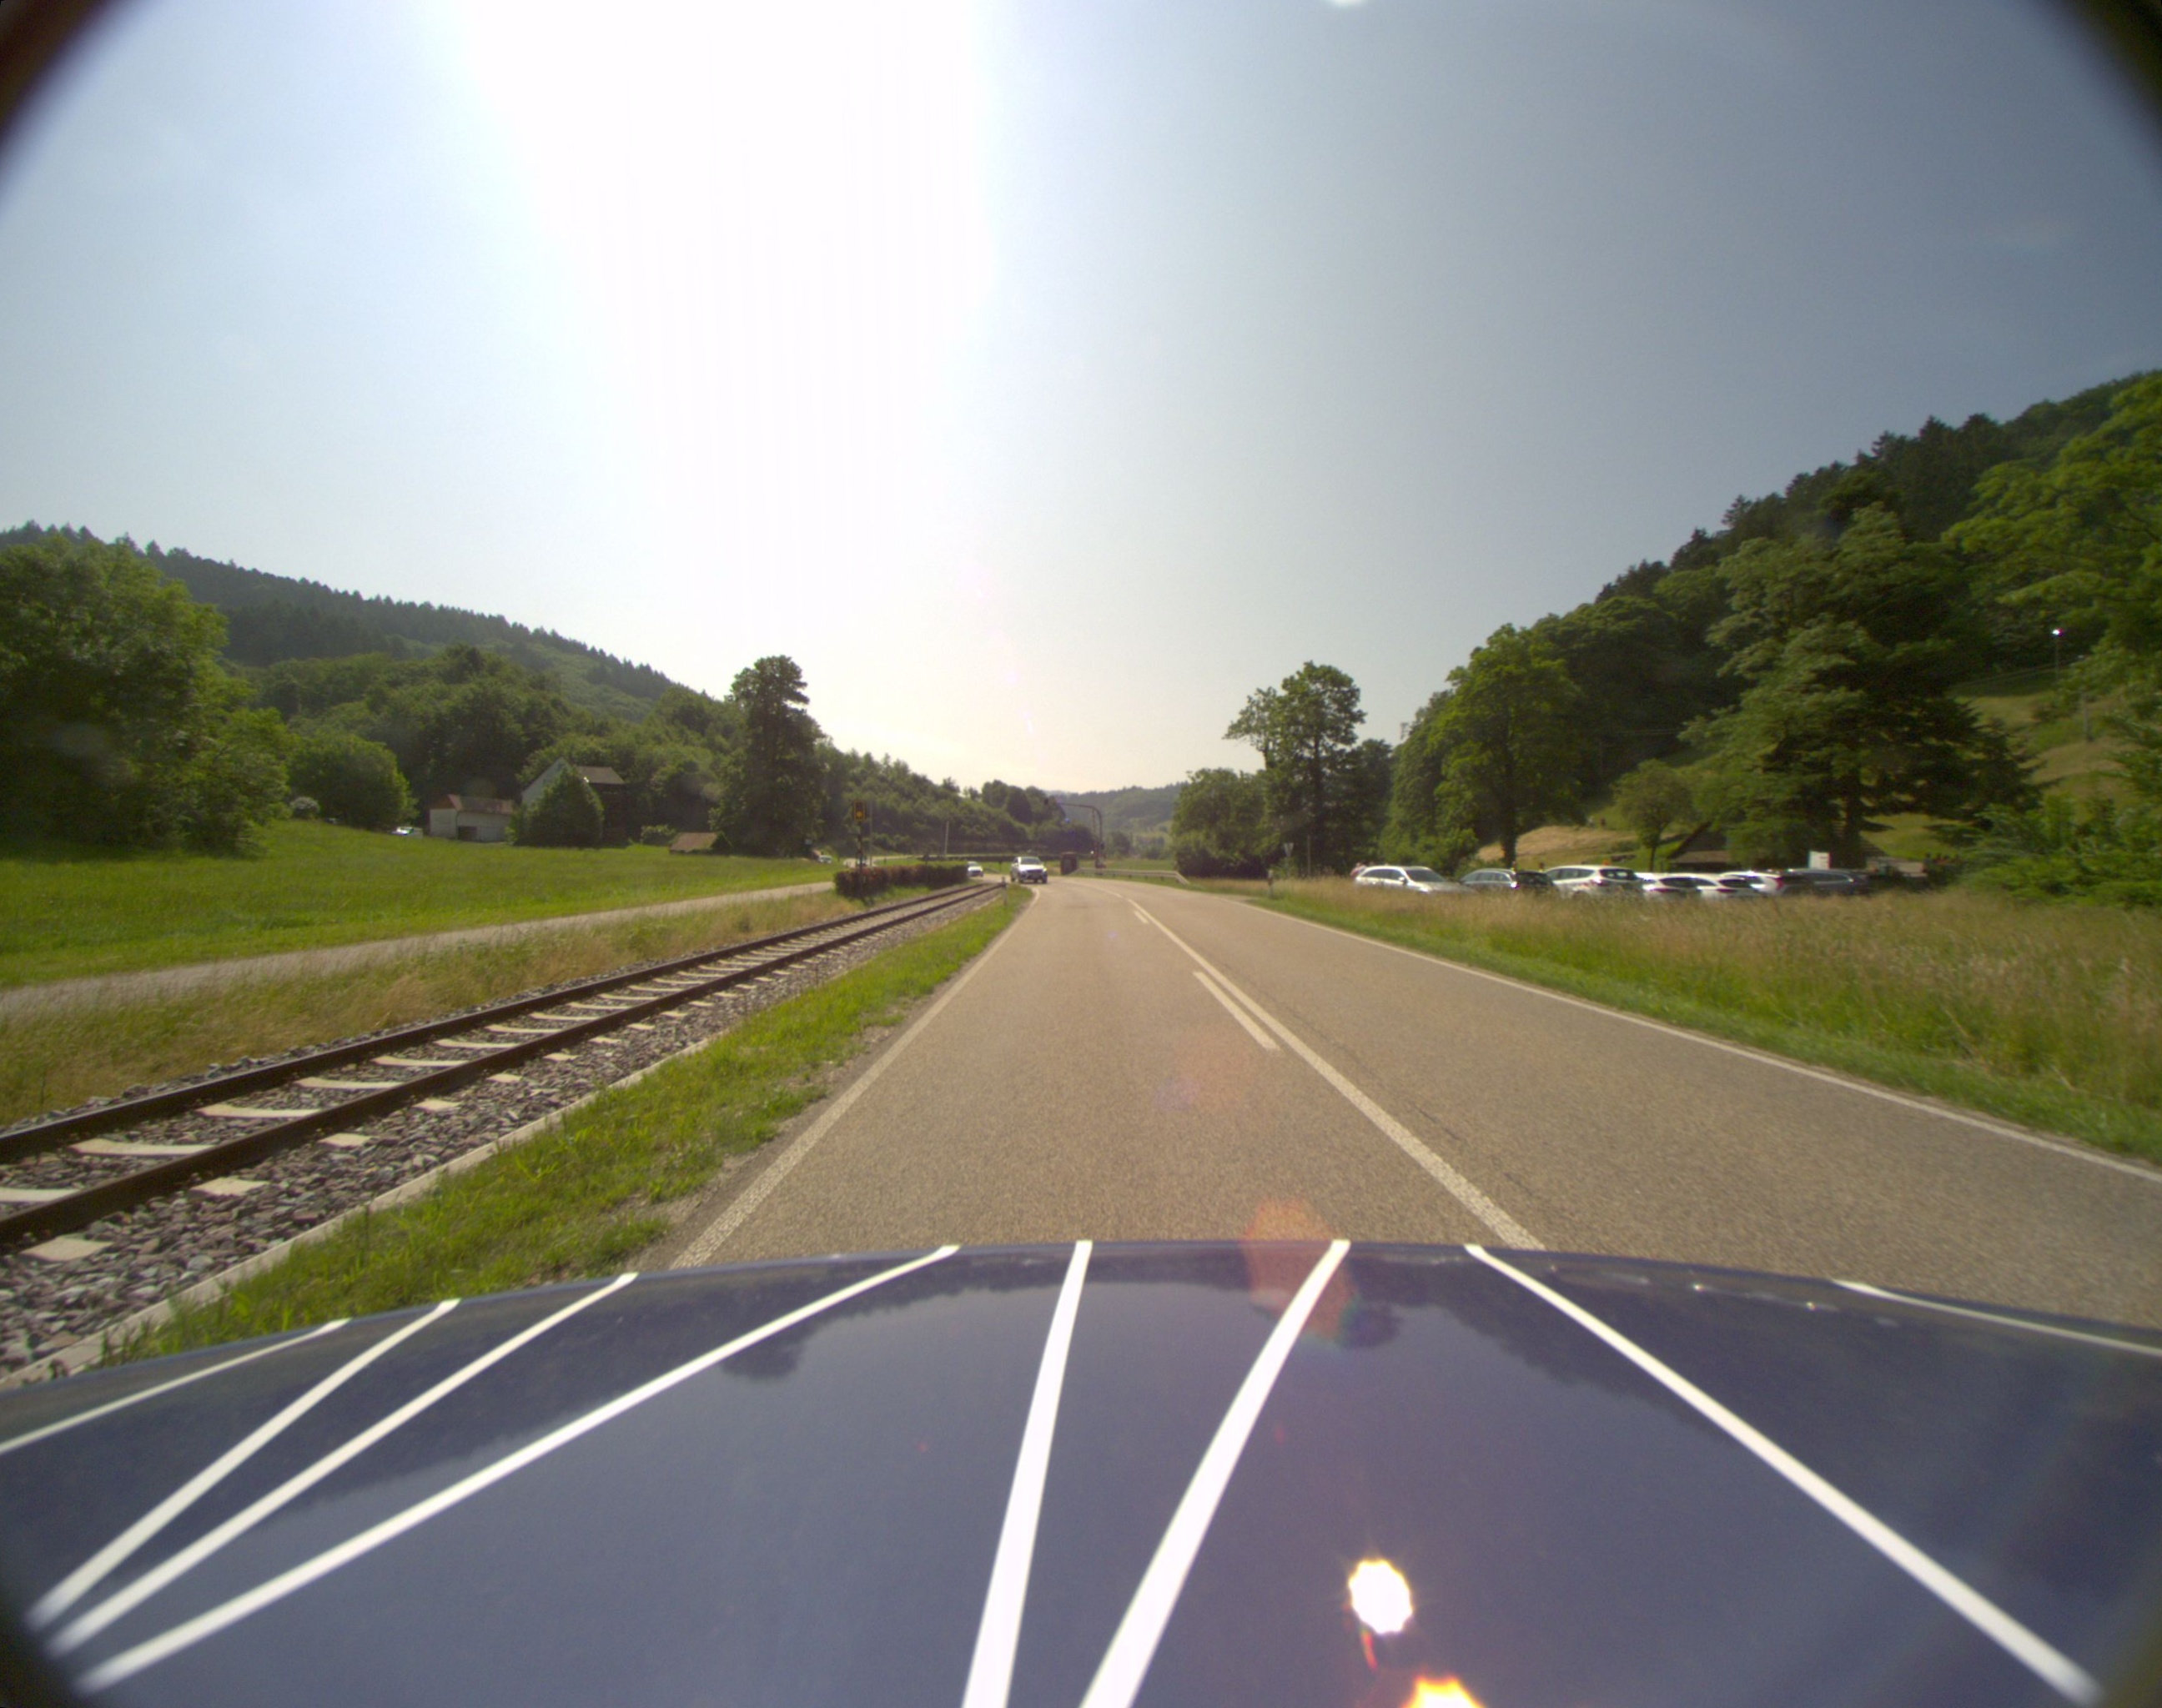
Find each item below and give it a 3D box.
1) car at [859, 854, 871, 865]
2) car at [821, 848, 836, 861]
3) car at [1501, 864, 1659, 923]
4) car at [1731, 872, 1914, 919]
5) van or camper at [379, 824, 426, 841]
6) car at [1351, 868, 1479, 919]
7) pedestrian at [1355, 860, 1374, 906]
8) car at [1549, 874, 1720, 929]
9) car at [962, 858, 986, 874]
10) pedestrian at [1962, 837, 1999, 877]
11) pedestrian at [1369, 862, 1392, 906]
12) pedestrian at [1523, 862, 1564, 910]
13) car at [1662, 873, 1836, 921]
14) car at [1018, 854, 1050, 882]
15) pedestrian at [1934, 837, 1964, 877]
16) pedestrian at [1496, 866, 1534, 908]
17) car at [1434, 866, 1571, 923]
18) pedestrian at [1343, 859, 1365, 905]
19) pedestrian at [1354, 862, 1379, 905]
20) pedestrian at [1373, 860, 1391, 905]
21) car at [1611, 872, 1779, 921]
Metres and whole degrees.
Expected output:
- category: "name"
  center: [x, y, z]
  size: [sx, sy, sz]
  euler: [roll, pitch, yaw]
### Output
- category: "car"
  center: [-37.802, 0.944, 132.904]
  size: [2.001, 1.774, 3.994]
  euler: [0, 0, -15]
- category: "car"
  center: [-38.835, 0.060, 116.872]
  size: [2.008, 1.838, 4.859]
  euler: [0, 0, -21]
- category: "car"
  center: [16.995, 1.276, 26.212]
  size: [1.877, 1.772, 4.768]
  euler: [0, 0, -7]
- category: "car"
  center: [27.642, 1.484, 28.570]
  size: [2.001, 1.492, 4.516]
  euler: [2, 0, -13]
- category: "van or camper"
  center: [-87.474, -2.702, 98.085]
  size: [2.821, 1.938, 5.426]
  euler: [2, -1, -22]
- category: "car"
  center: [11.249, 1.310, 25.945]
  size: [1.833, 1.491, 4.274]
  euler: [4, -2, -12]
- category: "pedestrian"
  center: [11.811, 1.198, 31.666]
  size: [0.647, 1.848, 0.772]
  euler: [2, 0, 23]
- category: "car"
  center: [19.634, 1.617, 27.298]
  size: [2.000, 1.632, 4.897]
  euler: [0, 0, -11]
- category: "car"
  center: [-10.531, 1.134, 74.468]
  size: [2.148, 1.482, 4.668]
  euler: [0, 0, -9]
- category: "pedestrian"
  center: [45.850, 0.129, 38.736]
  size: [0.701, 2.002, 0.931]
  euler: [1, 0, -15]
- category: "pedestrian"
  center: [12.604, 1.259, 32.003]
  size: [0.769, 1.785, 0.795]
  euler: [2, 0, 16]
- category: "pedestrian"
  center: [19.404, 1.336, 31.873]
  size: [1.129, 1.958, 0.862]
  euler: [2, 0, -1]
- category: "car"
  center: [24.621, 1.539, 28.265]
  size: [2.001, 1.492, 4.516]
  euler: [0, 0, -13]
- category: "car"
  center: [-3.295, 0.921, 52.839]
  size: [2.118, 1.803, 4.453]
  euler: [2, 0, -4]
- category: "pedestrian"
  center: [44.402, 0.170, 38.872]
  size: [0.699, 2.002, 0.934]
  euler: [2, 1, 32]
- category: "pedestrian"
  center: [18.973, 1.415, 33.236]
  size: [0.957, 1.784, 0.999]
  euler: [2, 0, -14]
- category: "car"
  center: [14.391, 1.308, 26.307]
  size: [1.999, 1.642, 4.620]
  euler: [2, 0, -2]
- category: "pedestrian"
  center: [11.594, 1.187, 32.264]
  size: [0.663, 1.943, 0.532]
  euler: [2, 0, -21]
- category: "pedestrian"
  center: [12.347, 1.275, 32.862]
  size: [0.790, 1.831, 0.698]
  euler: [2, 0, 0]
- category: "pedestrian"
  center: [12.457, 1.156, 31.423]
  size: [0.647, 1.829, 0.772]
  euler: [2, 0, 22]
- category: "car"
  center: [22.275, 1.483, 27.848]
  size: [2.001, 1.492, 4.516]
  euler: [0, 0, -13]
